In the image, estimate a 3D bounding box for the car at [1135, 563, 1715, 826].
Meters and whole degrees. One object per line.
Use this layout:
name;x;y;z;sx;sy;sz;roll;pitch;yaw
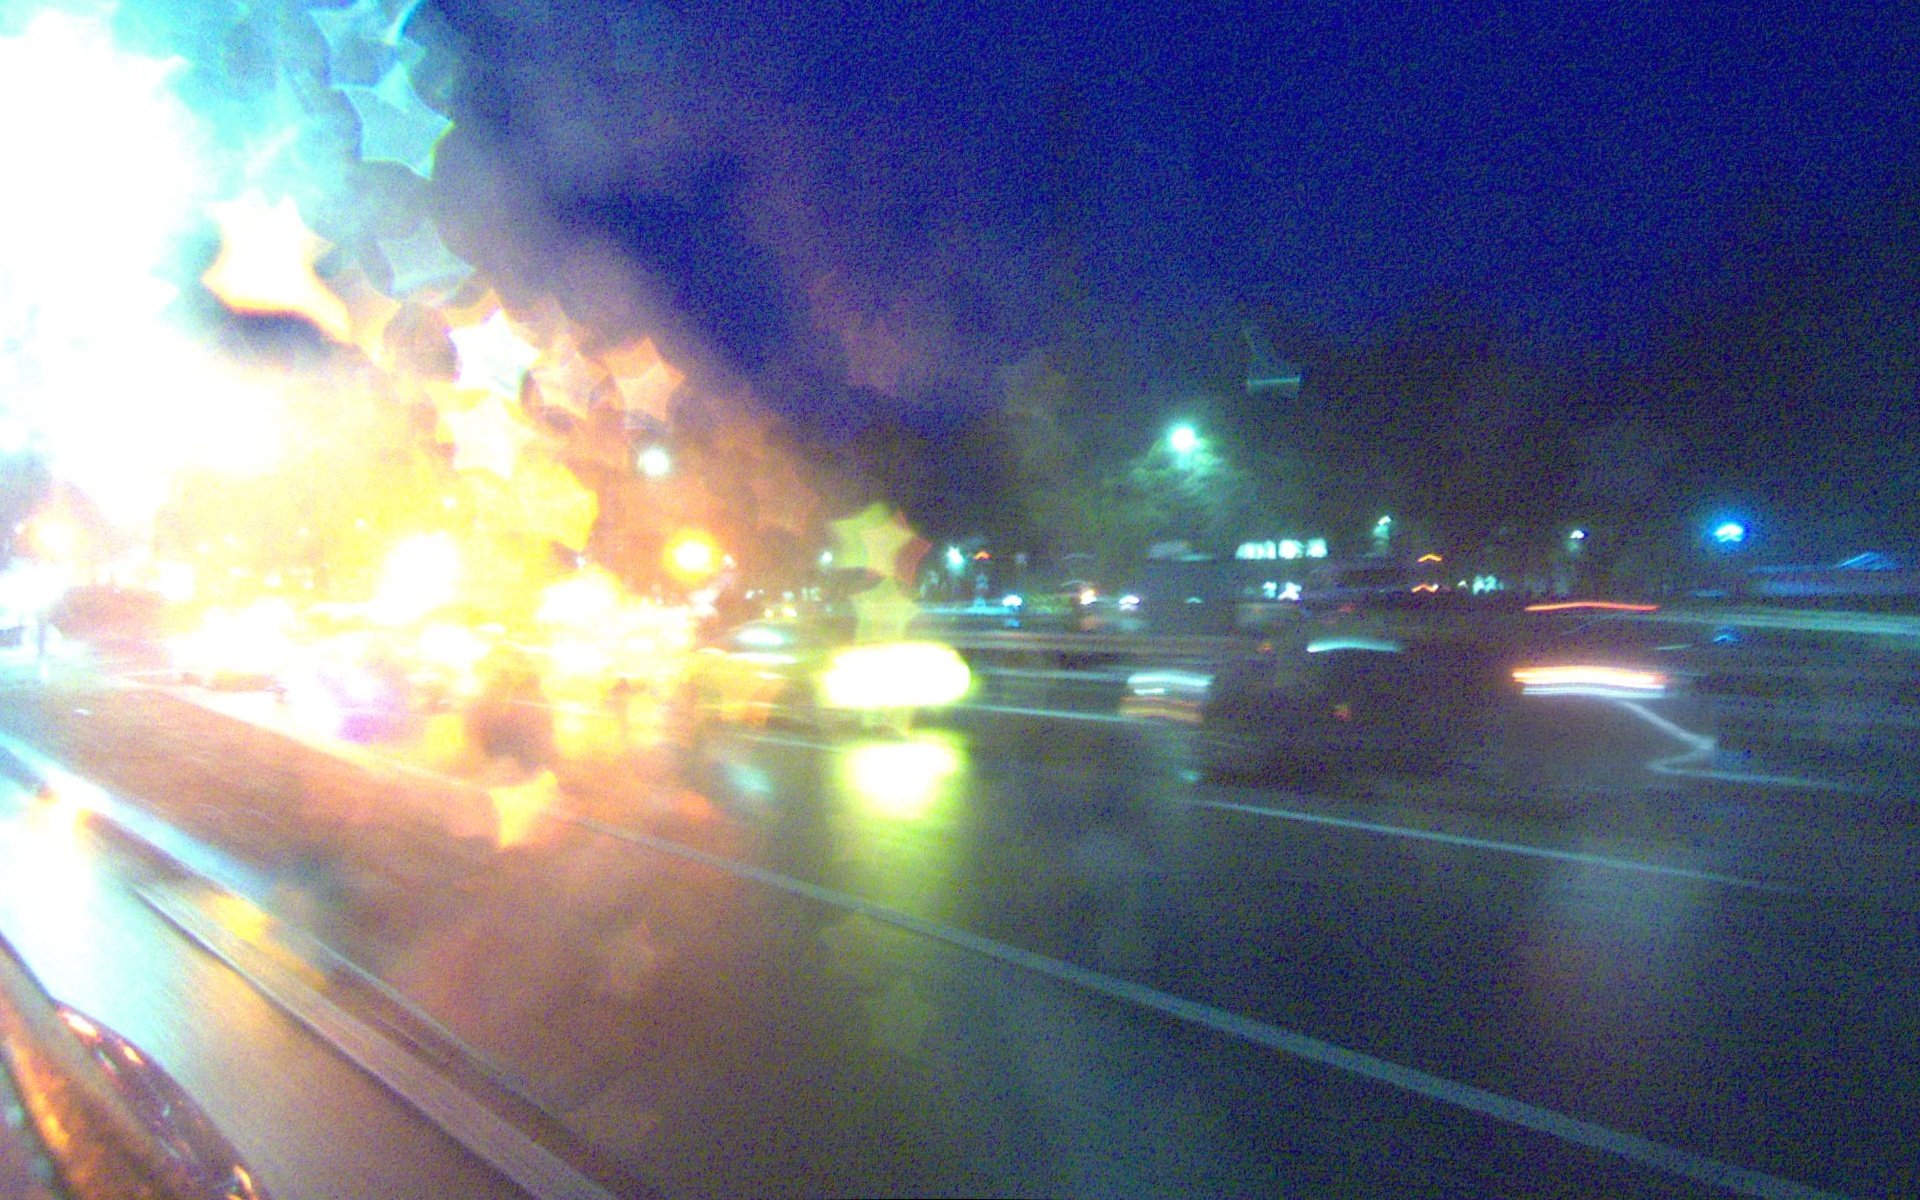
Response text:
car;3.474;0.554;7.909;3.688;1.540;1.944;-1;0;44

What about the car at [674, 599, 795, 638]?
car;-9.012;0.705;40.480;4.426;1.375;1.672;-2;1;-25

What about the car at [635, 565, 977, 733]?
car;-2.102;0.518;12.863;4.500;1.759;1.971;-1;0;44

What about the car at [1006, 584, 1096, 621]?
car;4.259;0.094;47.271;3.960;1.603;1.992;-1;0;13

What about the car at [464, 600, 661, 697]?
car;-7.001;0.767;17.705;3.601;1.463;1.803;0;1;43

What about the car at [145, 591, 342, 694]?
car;-13.880;0.709;19.484;5.010;1.710;1.973;0;1;41

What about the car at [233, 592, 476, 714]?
car;-9.444;0.700;15.631;4.465;1.582;1.936;0;1;41

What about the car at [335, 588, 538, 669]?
car;-11.784;0.581;22.632;5.157;1.568;2.334;-1;0;42

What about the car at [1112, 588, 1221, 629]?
car;9.270;0.385;45.481;4.427;1.706;1.834;-1;0;28

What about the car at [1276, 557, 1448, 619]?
car;15.911;-0.429;40.337;6.022;2.325;1.972;-1;0;44

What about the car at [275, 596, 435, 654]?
car;-20.847;0.821;35.090;4.446;1.858;2.006;-1;0;-19
